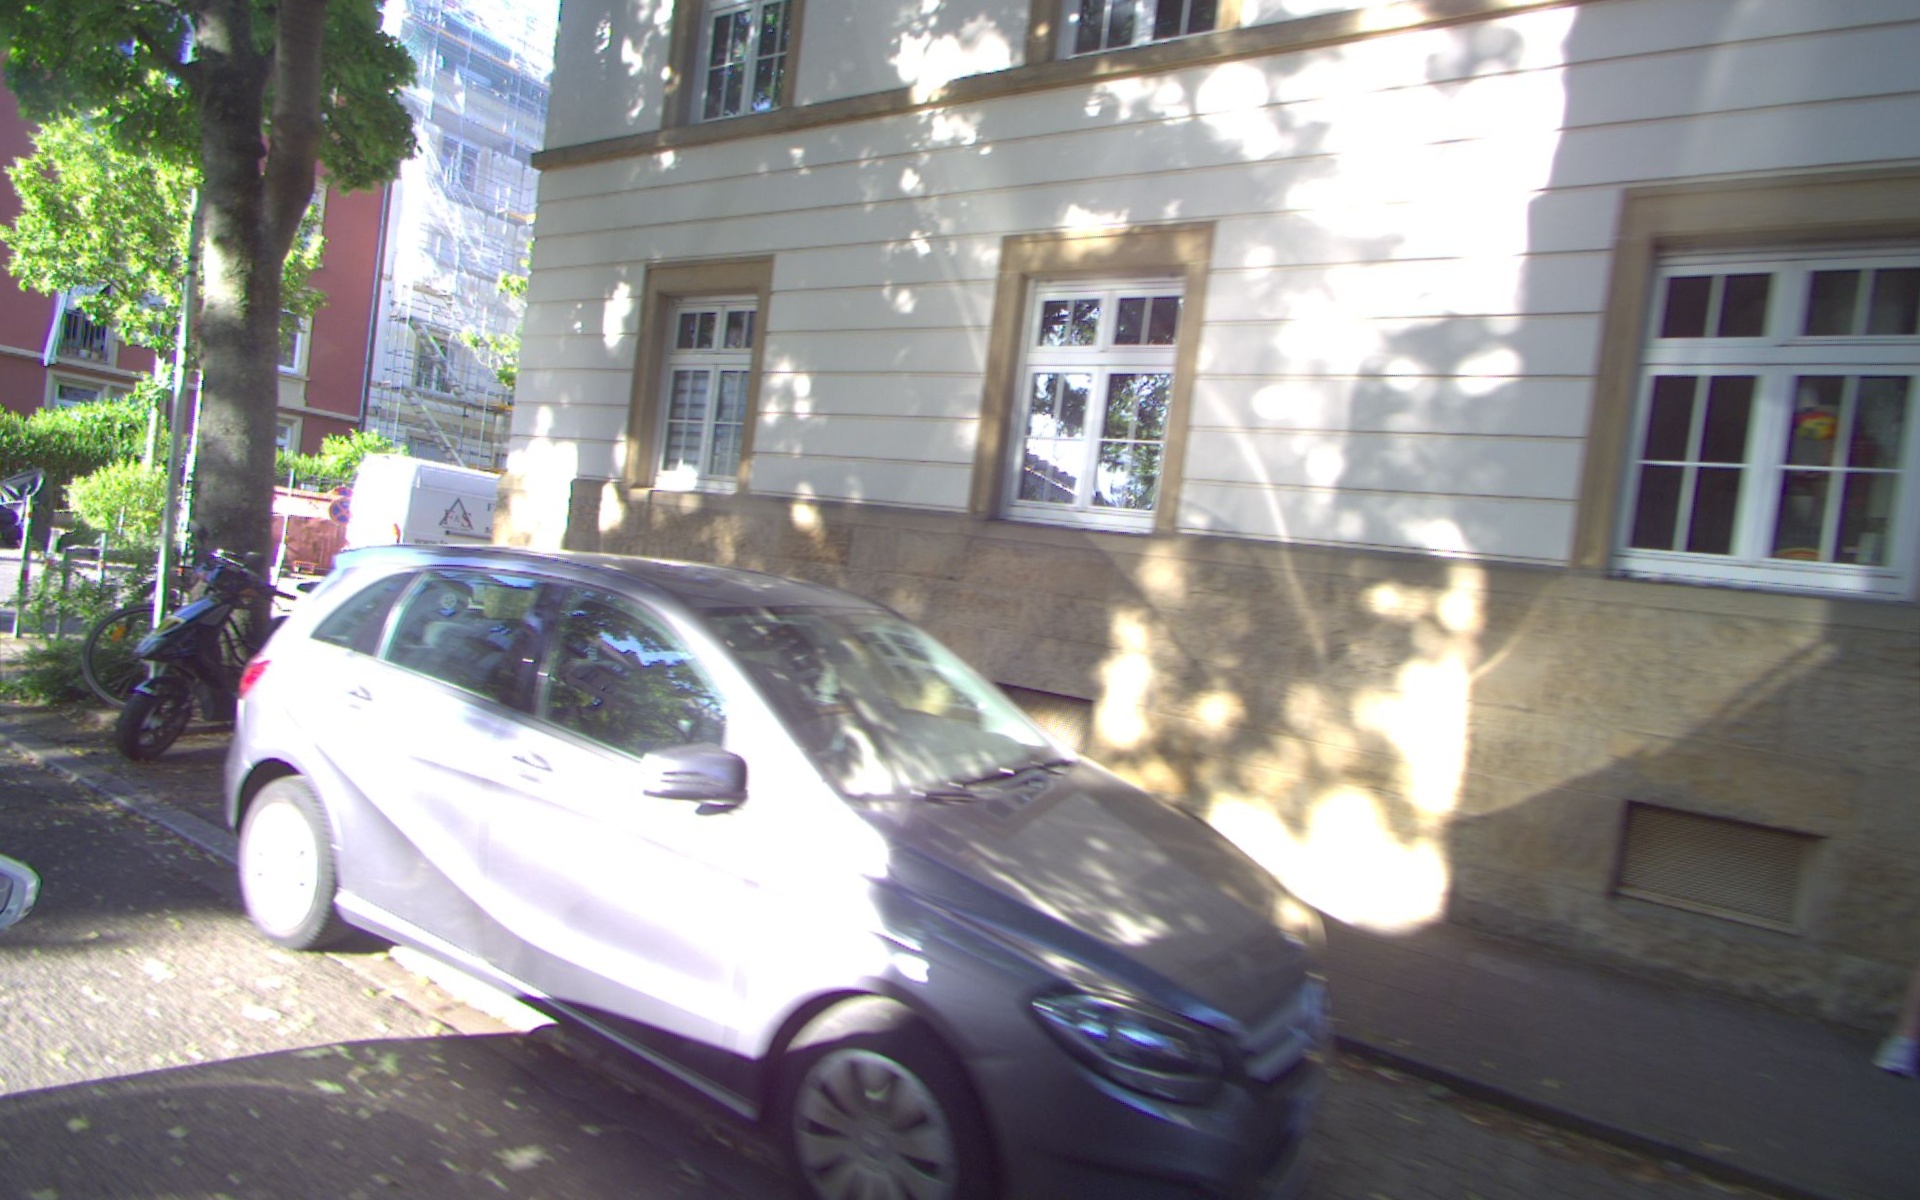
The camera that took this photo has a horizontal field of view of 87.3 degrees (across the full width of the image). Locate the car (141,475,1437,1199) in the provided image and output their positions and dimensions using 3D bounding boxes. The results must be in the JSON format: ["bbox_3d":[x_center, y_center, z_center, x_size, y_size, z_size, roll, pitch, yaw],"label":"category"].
[{"bbox_3d":[-0.800,0.602,3.647,4.333,1.570,1.792,8,1,29],"label":"car"}]

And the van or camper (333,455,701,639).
[{"bbox_3d":[-7.826,-0.829,18.345,2.113,2.477,5.580,11,3,40],"label":"van or camper"}]

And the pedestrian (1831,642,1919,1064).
[{"bbox_3d":[4.328,1.083,4.220,0.744,1.728,0.490,8,3,30],"label":"pedestrian"}]

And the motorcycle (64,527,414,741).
[{"bbox_3d":[-4.907,0.262,6.952,1.844,1.283,0.498,5,3,-45],"label":"motorcycle"}]

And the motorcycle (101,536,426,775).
[{"bbox_3d":[-4.332,0.331,6.367,0.609,1.283,1.503,8,3,30],"label":"motorcycle"}]

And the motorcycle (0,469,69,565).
[{"bbox_3d":[-16.687,-1.509,17.893,2.518,1.423,0.825,11,4,40],"label":"motorcycle"}]

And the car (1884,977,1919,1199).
[{"bbox_3d":[3.959,1.402,1.208,3.802,1.497,1.613,8,1,27],"label":"car"}]
